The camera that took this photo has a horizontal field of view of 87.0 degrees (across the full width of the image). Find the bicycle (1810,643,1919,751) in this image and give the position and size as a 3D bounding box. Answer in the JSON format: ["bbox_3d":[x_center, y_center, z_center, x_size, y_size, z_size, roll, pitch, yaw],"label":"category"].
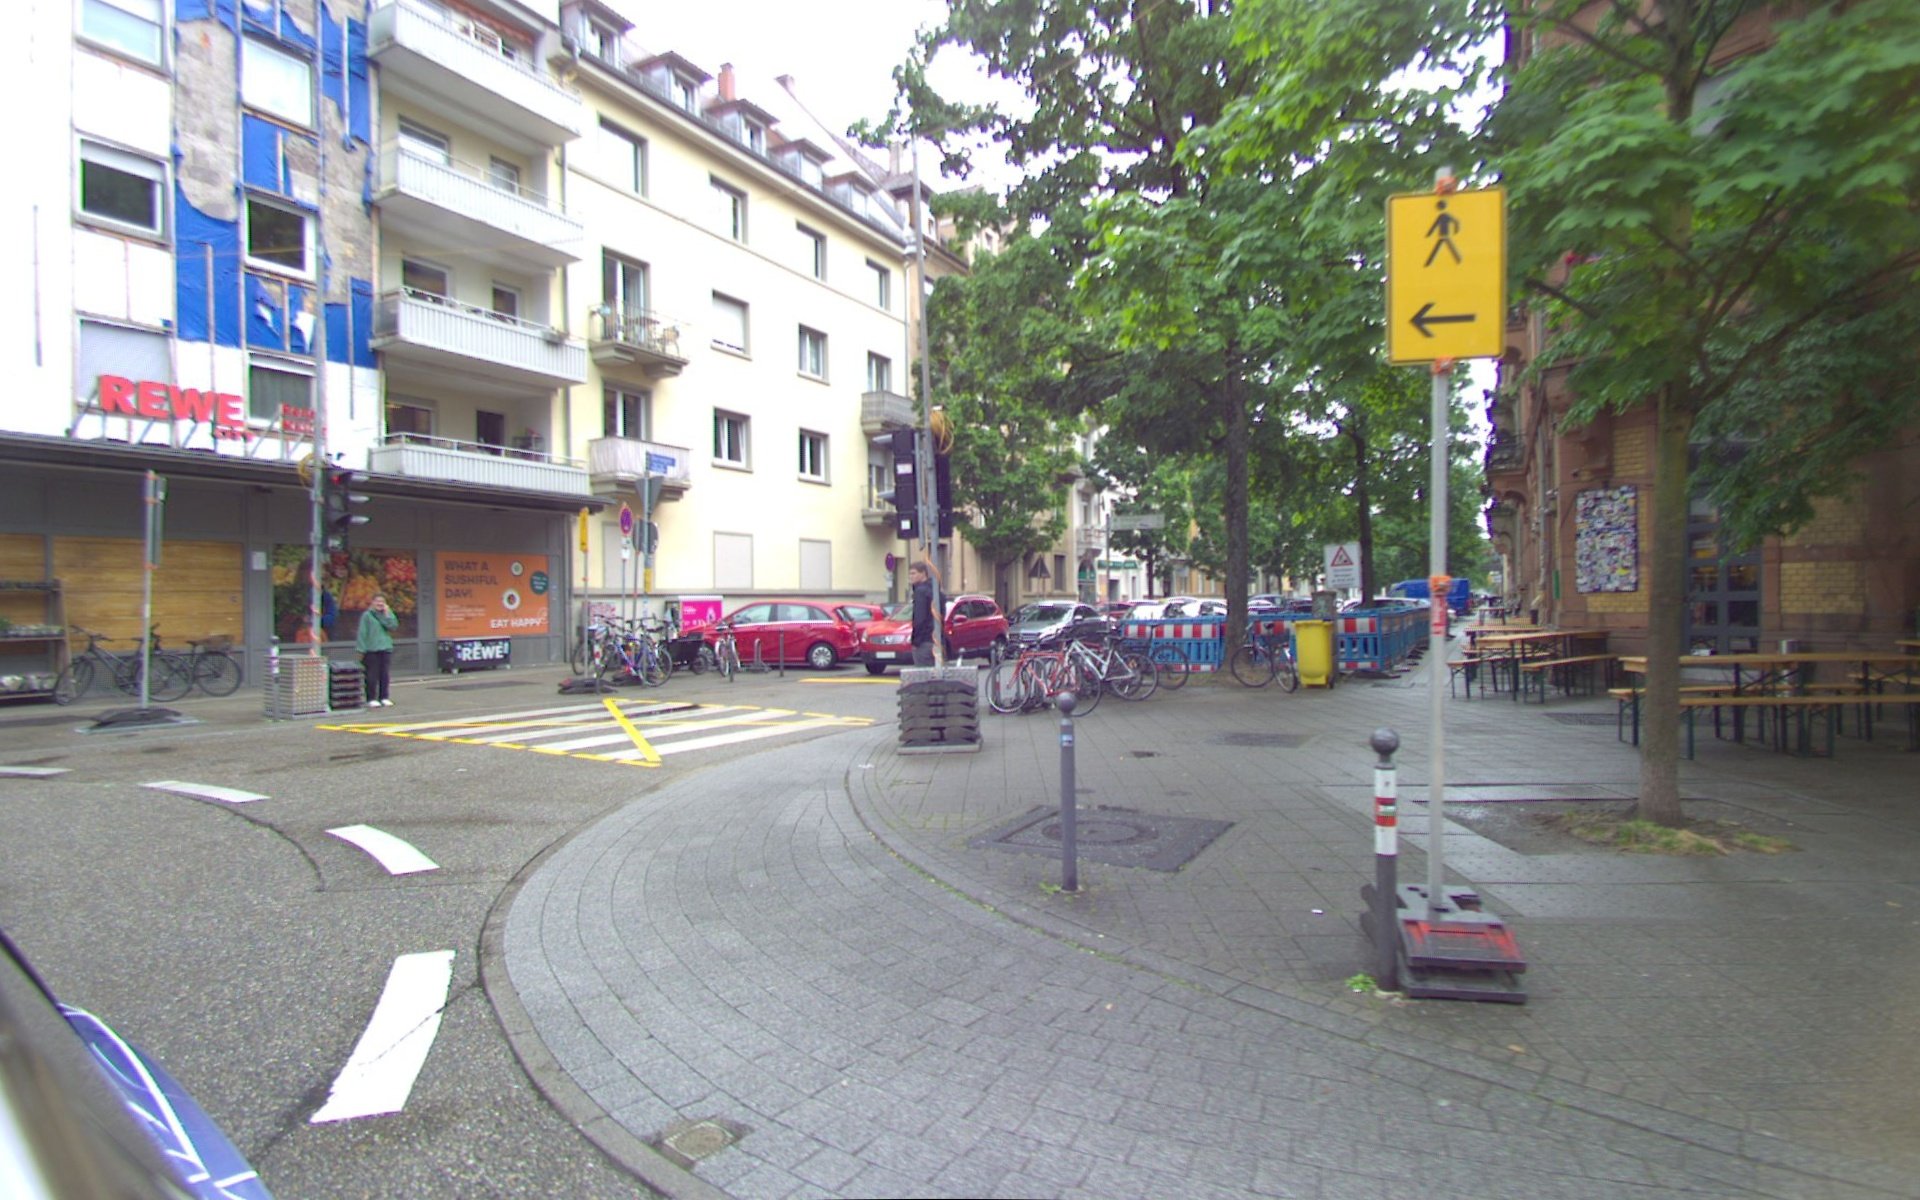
[{"bbox_3d":[7.912,0.801,8.460,0.400,0.821,1.395,-1,0,-1],"label":"bicycle"}]

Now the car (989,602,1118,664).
[{"bbox_3d":[2.647,0.856,27.680,1.836,1.488,4.342,-2,-1,30],"label":"car"}]

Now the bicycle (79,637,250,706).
[{"bbox_3d":[-12.063,1.064,15.432,1.967,0.978,0.591,1,-1,-31],"label":"bicycle"}]

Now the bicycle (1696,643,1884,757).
[{"bbox_3d":[6.895,0.799,8.484,0.400,0.821,1.395,-1,0,-1],"label":"bicycle"}]

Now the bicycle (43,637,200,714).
[{"bbox_3d":[-12.001,1.058,14.550,1.663,0.978,0.570,-1,0,-31],"label":"bicycle"}]

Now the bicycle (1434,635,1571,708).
[{"bbox_3d":[6.855,0.877,12.850,0.398,0.821,1.551,0,0,-30],"label":"bicycle"}]

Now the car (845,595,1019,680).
[{"bbox_3d":[-0.487,0.784,22.060,1.835,1.652,4.344,-2,-2,28],"label":"car"}]

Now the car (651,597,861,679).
[{"bbox_3d":[-4.545,0.837,23.059,4.394,1.693,2.001,-1,0,-1],"label":"car"}]

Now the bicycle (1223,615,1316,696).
[{"bbox_3d":[4.600,0.783,15.236,0.732,1.100,2.410,-1,-1,2],"label":"bicycle"}]

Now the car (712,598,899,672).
[{"bbox_3d":[-3.768,0.850,25.326,4.394,1.684,2.001,-1,0,-1],"label":"car"}]

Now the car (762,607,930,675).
[{"bbox_3d":[-3.042,1.086,27.666,4.394,1.684,2.001,-1,0,-1],"label":"car"}]

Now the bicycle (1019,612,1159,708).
[{"bbox_3d":[1.804,0.853,14.459,2.004,1.285,0.581,-4,-3,45],"label":"bicycle"}]

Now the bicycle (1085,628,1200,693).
[{"bbox_3d":[2.883,0.931,16.100,1.721,0.968,0.582,-1,-1,40],"label":"bicycle"}]

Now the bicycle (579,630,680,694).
[{"bbox_3d":[-5.816,1.064,17.767,1.996,0.978,0.583,1,1,34],"label":"bicycle"}]

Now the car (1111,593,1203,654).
[{"bbox_3d":[6.472,0.711,32.891,1.834,1.811,4.348,-2,-1,26],"label":"car"}]

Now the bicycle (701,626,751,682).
[{"bbox_3d":[-4.658,1.052,20.221,0.581,0.978,2.002,1,1,-1],"label":"bicycle"}]

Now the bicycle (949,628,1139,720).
[{"bbox_3d":[1.026,0.924,12.941,2.414,1.052,0.853,-4,-2,45],"label":"bicycle"}]

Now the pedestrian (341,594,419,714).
[{"bbox_3d":[-8.151,0.729,14.227,0.604,1.627,0.789,0,0,39],"label":"pedestrian"}]

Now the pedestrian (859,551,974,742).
[{"bbox_3d":[-0.483,0.497,11.414,0.863,2.029,0.933,-1,0,39],"label":"pedestrian"}]

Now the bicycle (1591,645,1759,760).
[{"bbox_3d":[5.974,0.826,8.539,0.400,0.821,1.395,-1,0,-1],"label":"bicycle"}]

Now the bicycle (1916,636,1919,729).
[{"bbox_3d":[8.728,0.728,8.307,0.400,0.821,1.395,-1,0,-1],"label":"bicycle"}]

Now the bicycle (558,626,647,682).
[{"bbox_3d":[-7.243,1.072,20.604,0.585,0.978,1.988,1,1,20],"label":"bicycle"}]

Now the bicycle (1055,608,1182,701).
[{"bbox_3d":[2.285,0.798,14.813,1.867,1.285,0.468,-4,-3,45],"label":"bicycle"}]
